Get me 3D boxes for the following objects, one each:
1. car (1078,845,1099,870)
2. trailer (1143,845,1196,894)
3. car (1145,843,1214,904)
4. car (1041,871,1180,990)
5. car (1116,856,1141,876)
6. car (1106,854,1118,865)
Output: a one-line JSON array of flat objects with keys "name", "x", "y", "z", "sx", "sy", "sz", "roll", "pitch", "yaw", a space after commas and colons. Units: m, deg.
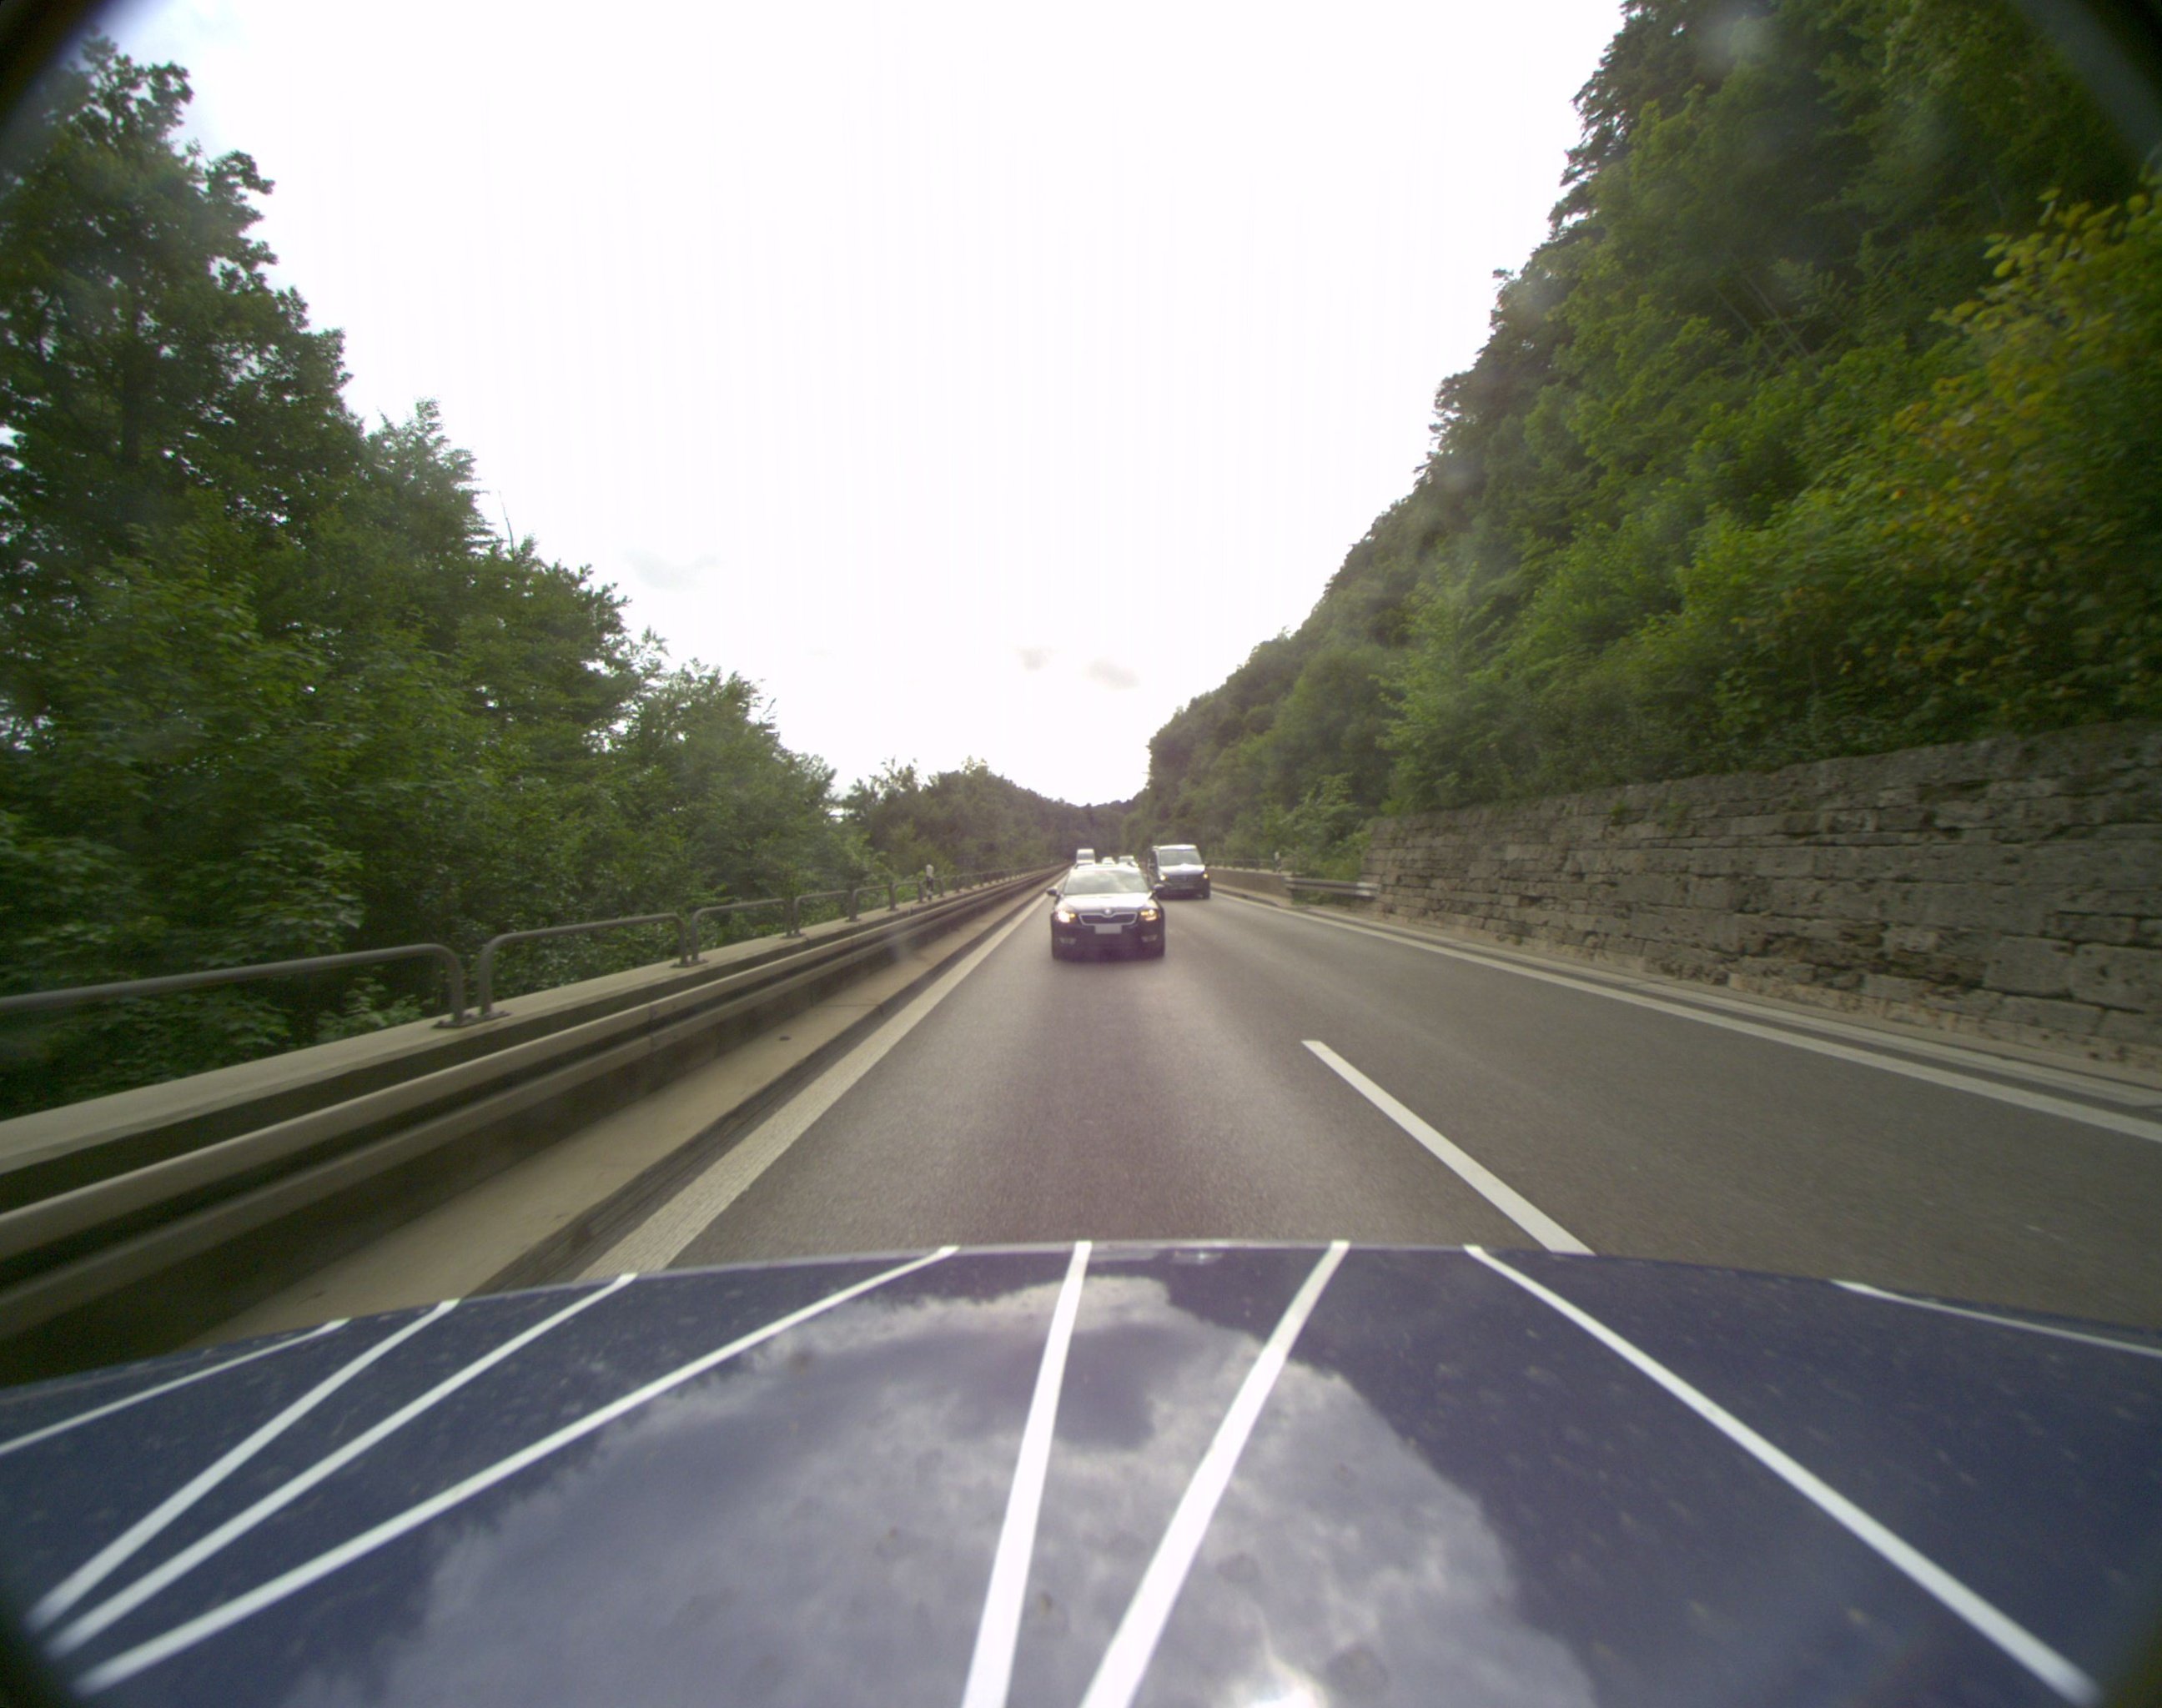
[{"name": "car", "x": 0.865, "y": 0.436, "z": 81.899, "sx": 2.099, "sy": 2.547, "sz": 5.921, "roll": 1, "pitch": -1, "yaw": 1}, {"name": "trailer", "x": 3.838, "y": 0.662, "z": 33.480, "sx": 1.975, "sy": 1.928, "sz": 3.431, "roll": -3, "pitch": 0, "yaw": 3}, {"name": "car", "x": 3.641, "y": 0.669, "z": 29.008, "sx": 1.998, "sy": 2.002, "sz": 5.541, "roll": -3, "pitch": 0, "yaw": 2}, {"name": "car", "x": 0.392, "y": 0.982, "z": 11.486, "sx": 1.638, "sy": 1.384, "sz": 4.499, "roll": -2, "pitch": -1, "yaw": 1}, {"name": "car", "x": 4.205, "y": 1.067, "z": 68.048, "sx": 1.976, "sy": 1.584, "sz": 5.585, "roll": -1, "pitch": 1, "yaw": 2}, {"name": "car", "x": 4.712, "y": 0.824, "z": 115.941, "sx": 1.823, "sy": 1.546, "sz": 4.001, "roll": 1, "pitch": -1, "yaw": 2}]
